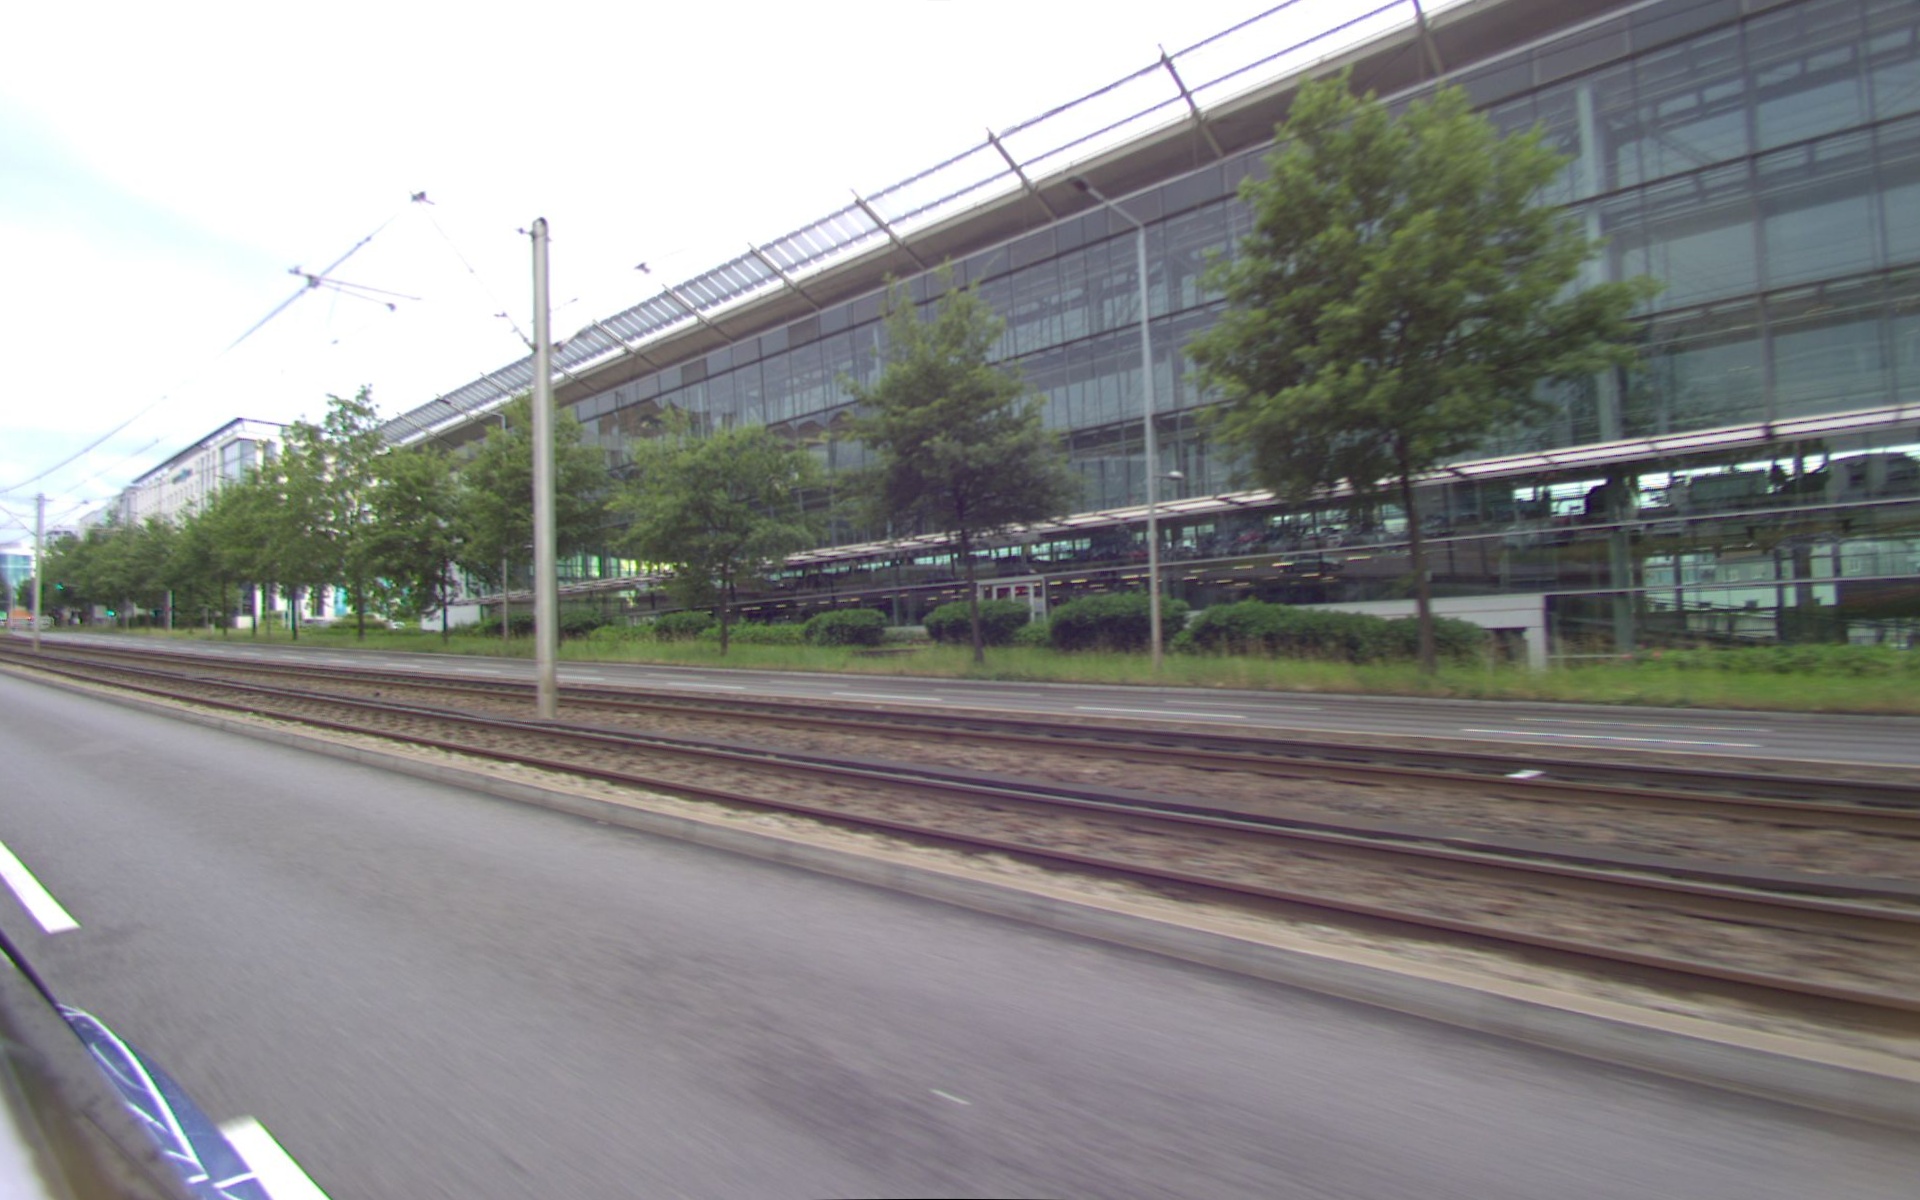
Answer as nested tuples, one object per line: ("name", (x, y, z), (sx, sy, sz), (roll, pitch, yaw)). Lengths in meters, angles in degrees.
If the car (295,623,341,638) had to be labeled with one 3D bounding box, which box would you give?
("car", (-68.734, 3.231, 108.442), (3.931, 1.401, 1.809), (-1, 1, -22))
